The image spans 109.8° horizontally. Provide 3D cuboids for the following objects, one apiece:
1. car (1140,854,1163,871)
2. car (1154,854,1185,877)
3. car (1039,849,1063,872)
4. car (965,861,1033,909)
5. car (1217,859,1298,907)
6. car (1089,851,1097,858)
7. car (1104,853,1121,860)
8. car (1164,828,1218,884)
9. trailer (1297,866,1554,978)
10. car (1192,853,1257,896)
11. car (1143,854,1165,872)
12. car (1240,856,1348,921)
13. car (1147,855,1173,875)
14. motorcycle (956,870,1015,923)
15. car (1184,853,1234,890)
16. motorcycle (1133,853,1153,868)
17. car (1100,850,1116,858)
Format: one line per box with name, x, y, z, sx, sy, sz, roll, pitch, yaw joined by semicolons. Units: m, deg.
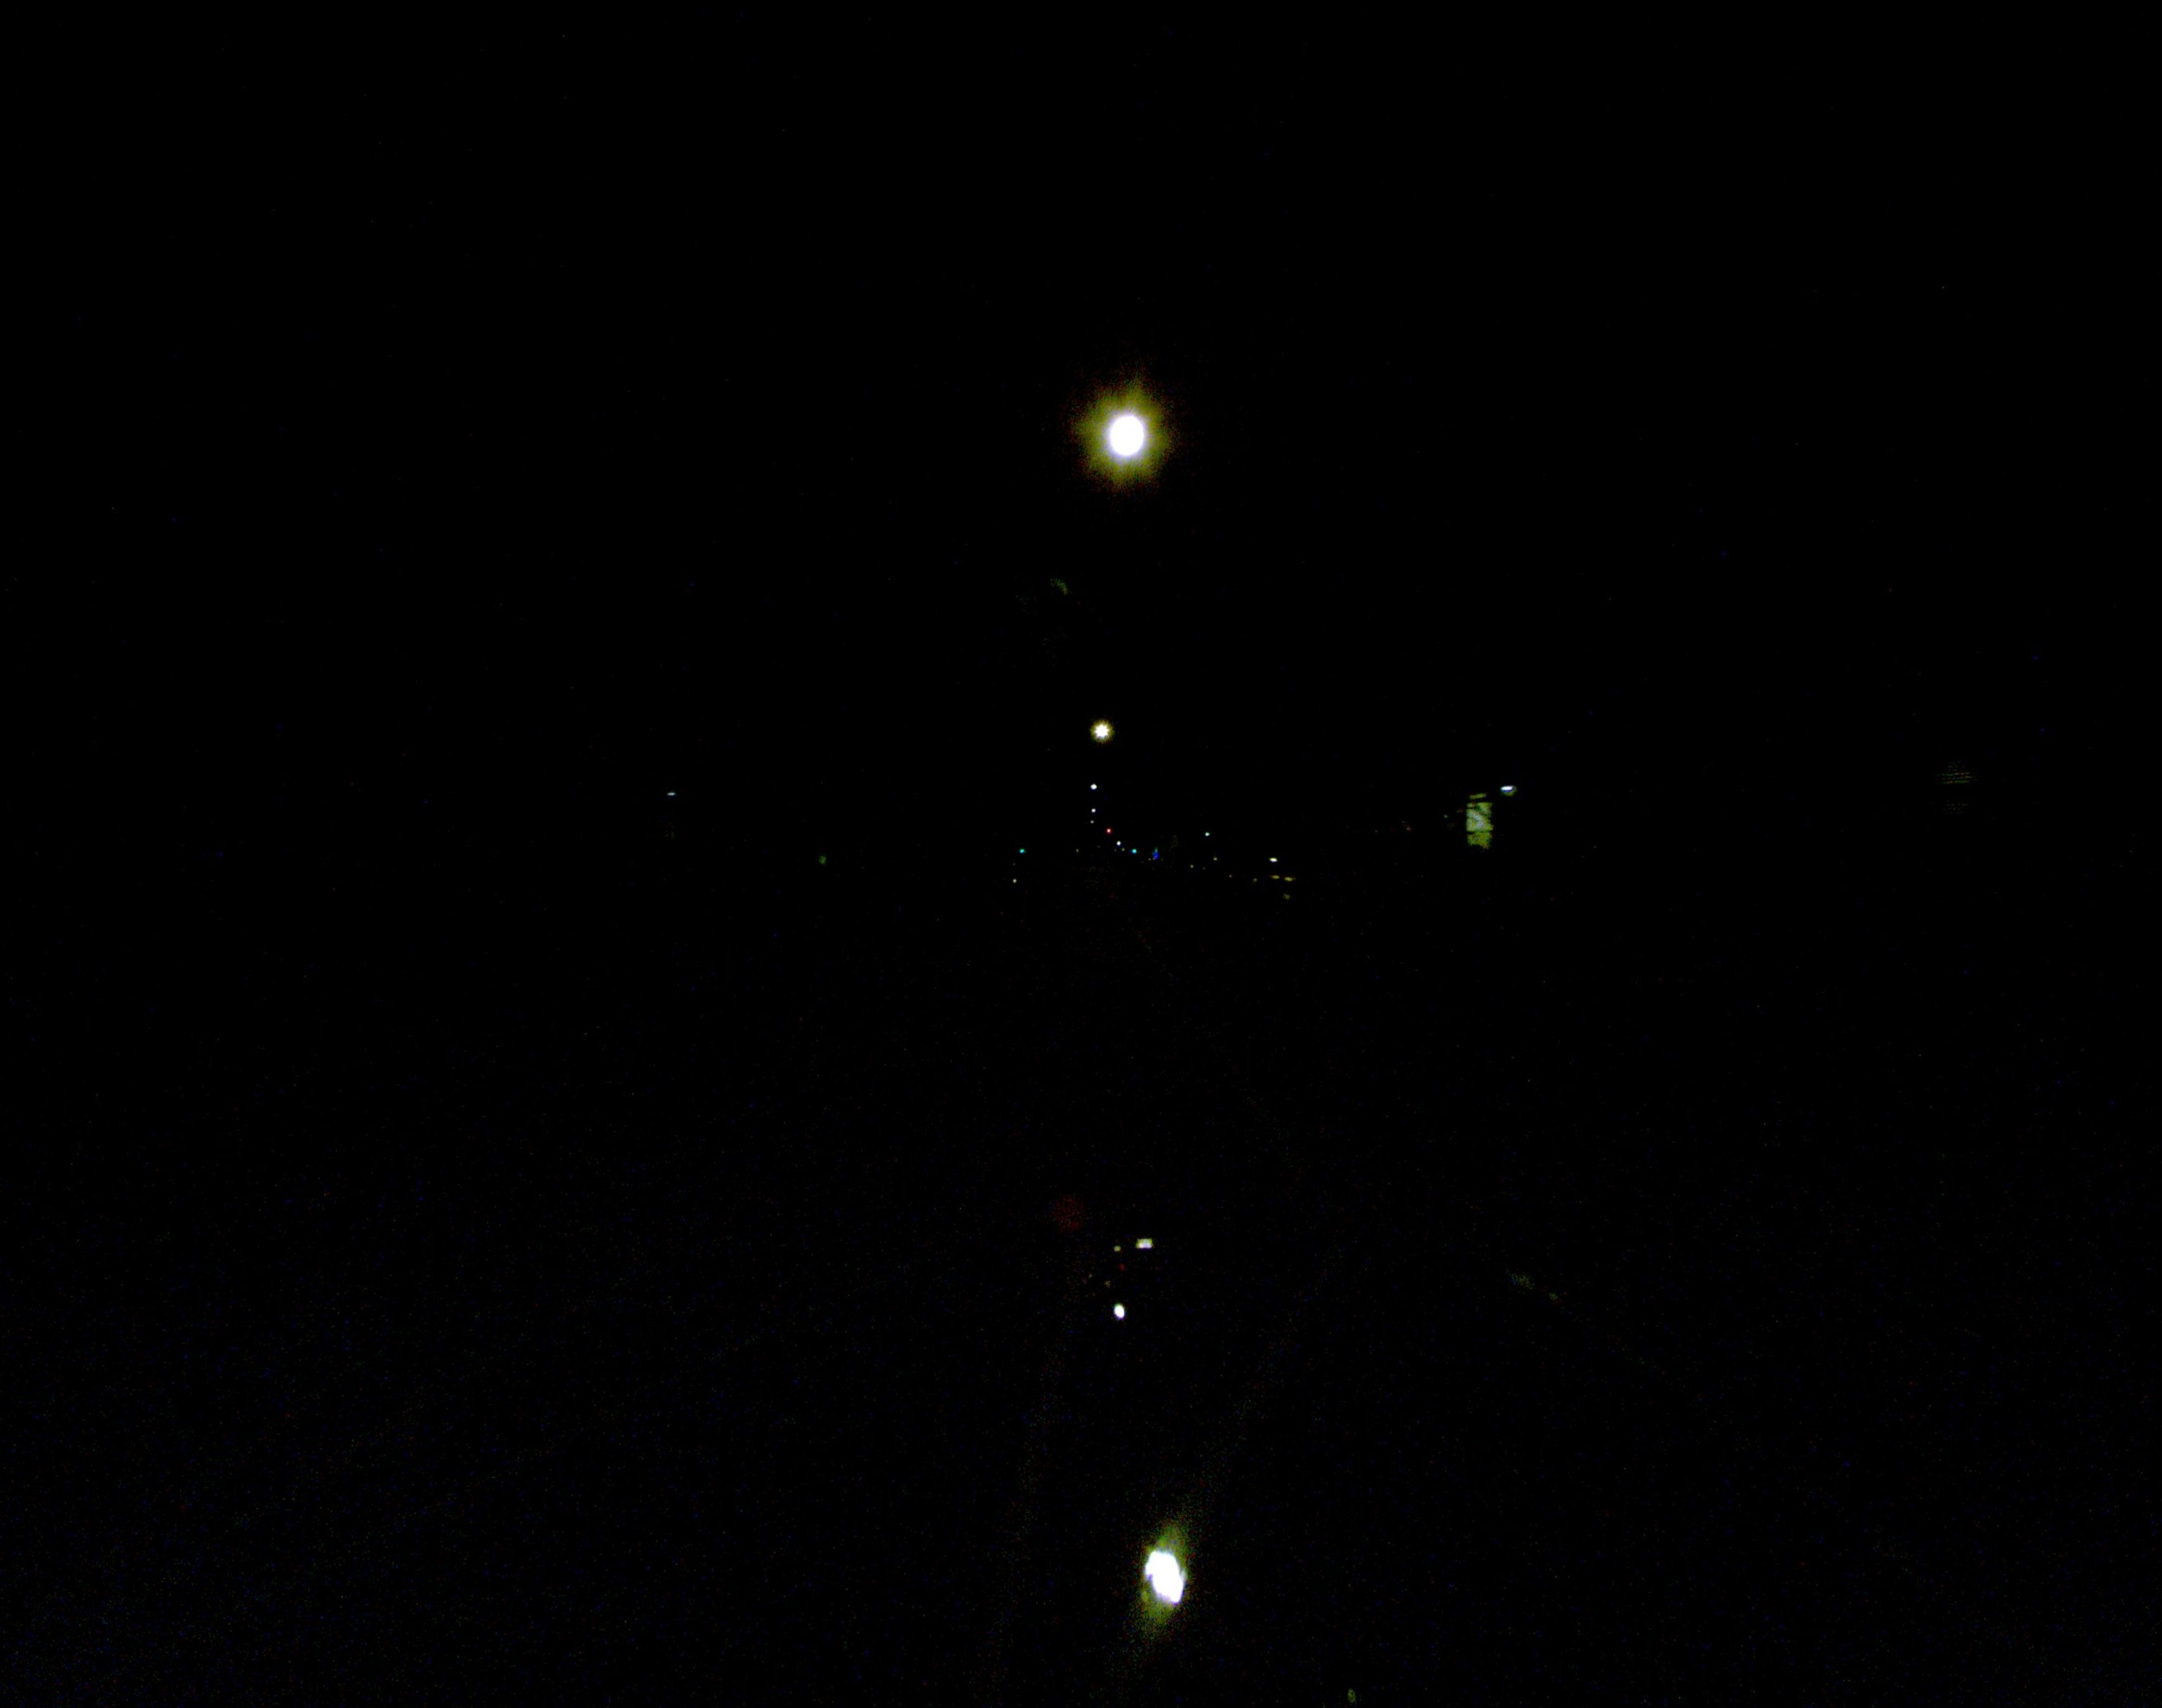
car;6.495;0.771;69.981;1.646;1.495;3.903;-3;0;0
car;6.124;0.774;52.931;1.649;1.496;3.860;-1;1;0
car;-2.670;0.577;68.303;1.956;1.952;4.603;-1;0;-1
car;-2.709;0.984;25.952;1.672;1.420;4.148;1;0;3
car;5.980;0.926;26.308;1.709;1.403;4.633;-2;0;0
car;3.128;0.084;195.206;1.936;1.646;3.833;-1;0;0
car;7.826;0.599;187.274;4.055;1.879;1.634;0;1;-3
car;6.084;0.107;42.618;2.184;2.892;4.909;-2;0;0
trailer;5.561;0.989;13.280;2.115;1.327;5.435;-3;0;2
car;5.871;0.791;31.510;1.746;1.597;4.297;-2;0;-1
car;6.309;0.773;65.670;1.448;1.421;3.903;-3;0;0
car;5.717;0.872;20.919;1.721;1.493;4.205;-3;0;0
car;6.156;0.801;59.458;1.551;1.447;3.368;-3;0;0
motorcycle;-2.577;1.096;20.242;0.930;1.276;2.230;1;0;-24
car;6.010;0.786;36.001;1.746;1.597;4.116;-2;0;2
motorcycle;6.486;0.697;79.874;1.909;1.541;0.638;-3;1;-19
car;6.802;-0.006;191.879;3.848;1.781;1.634;0;1;-3
